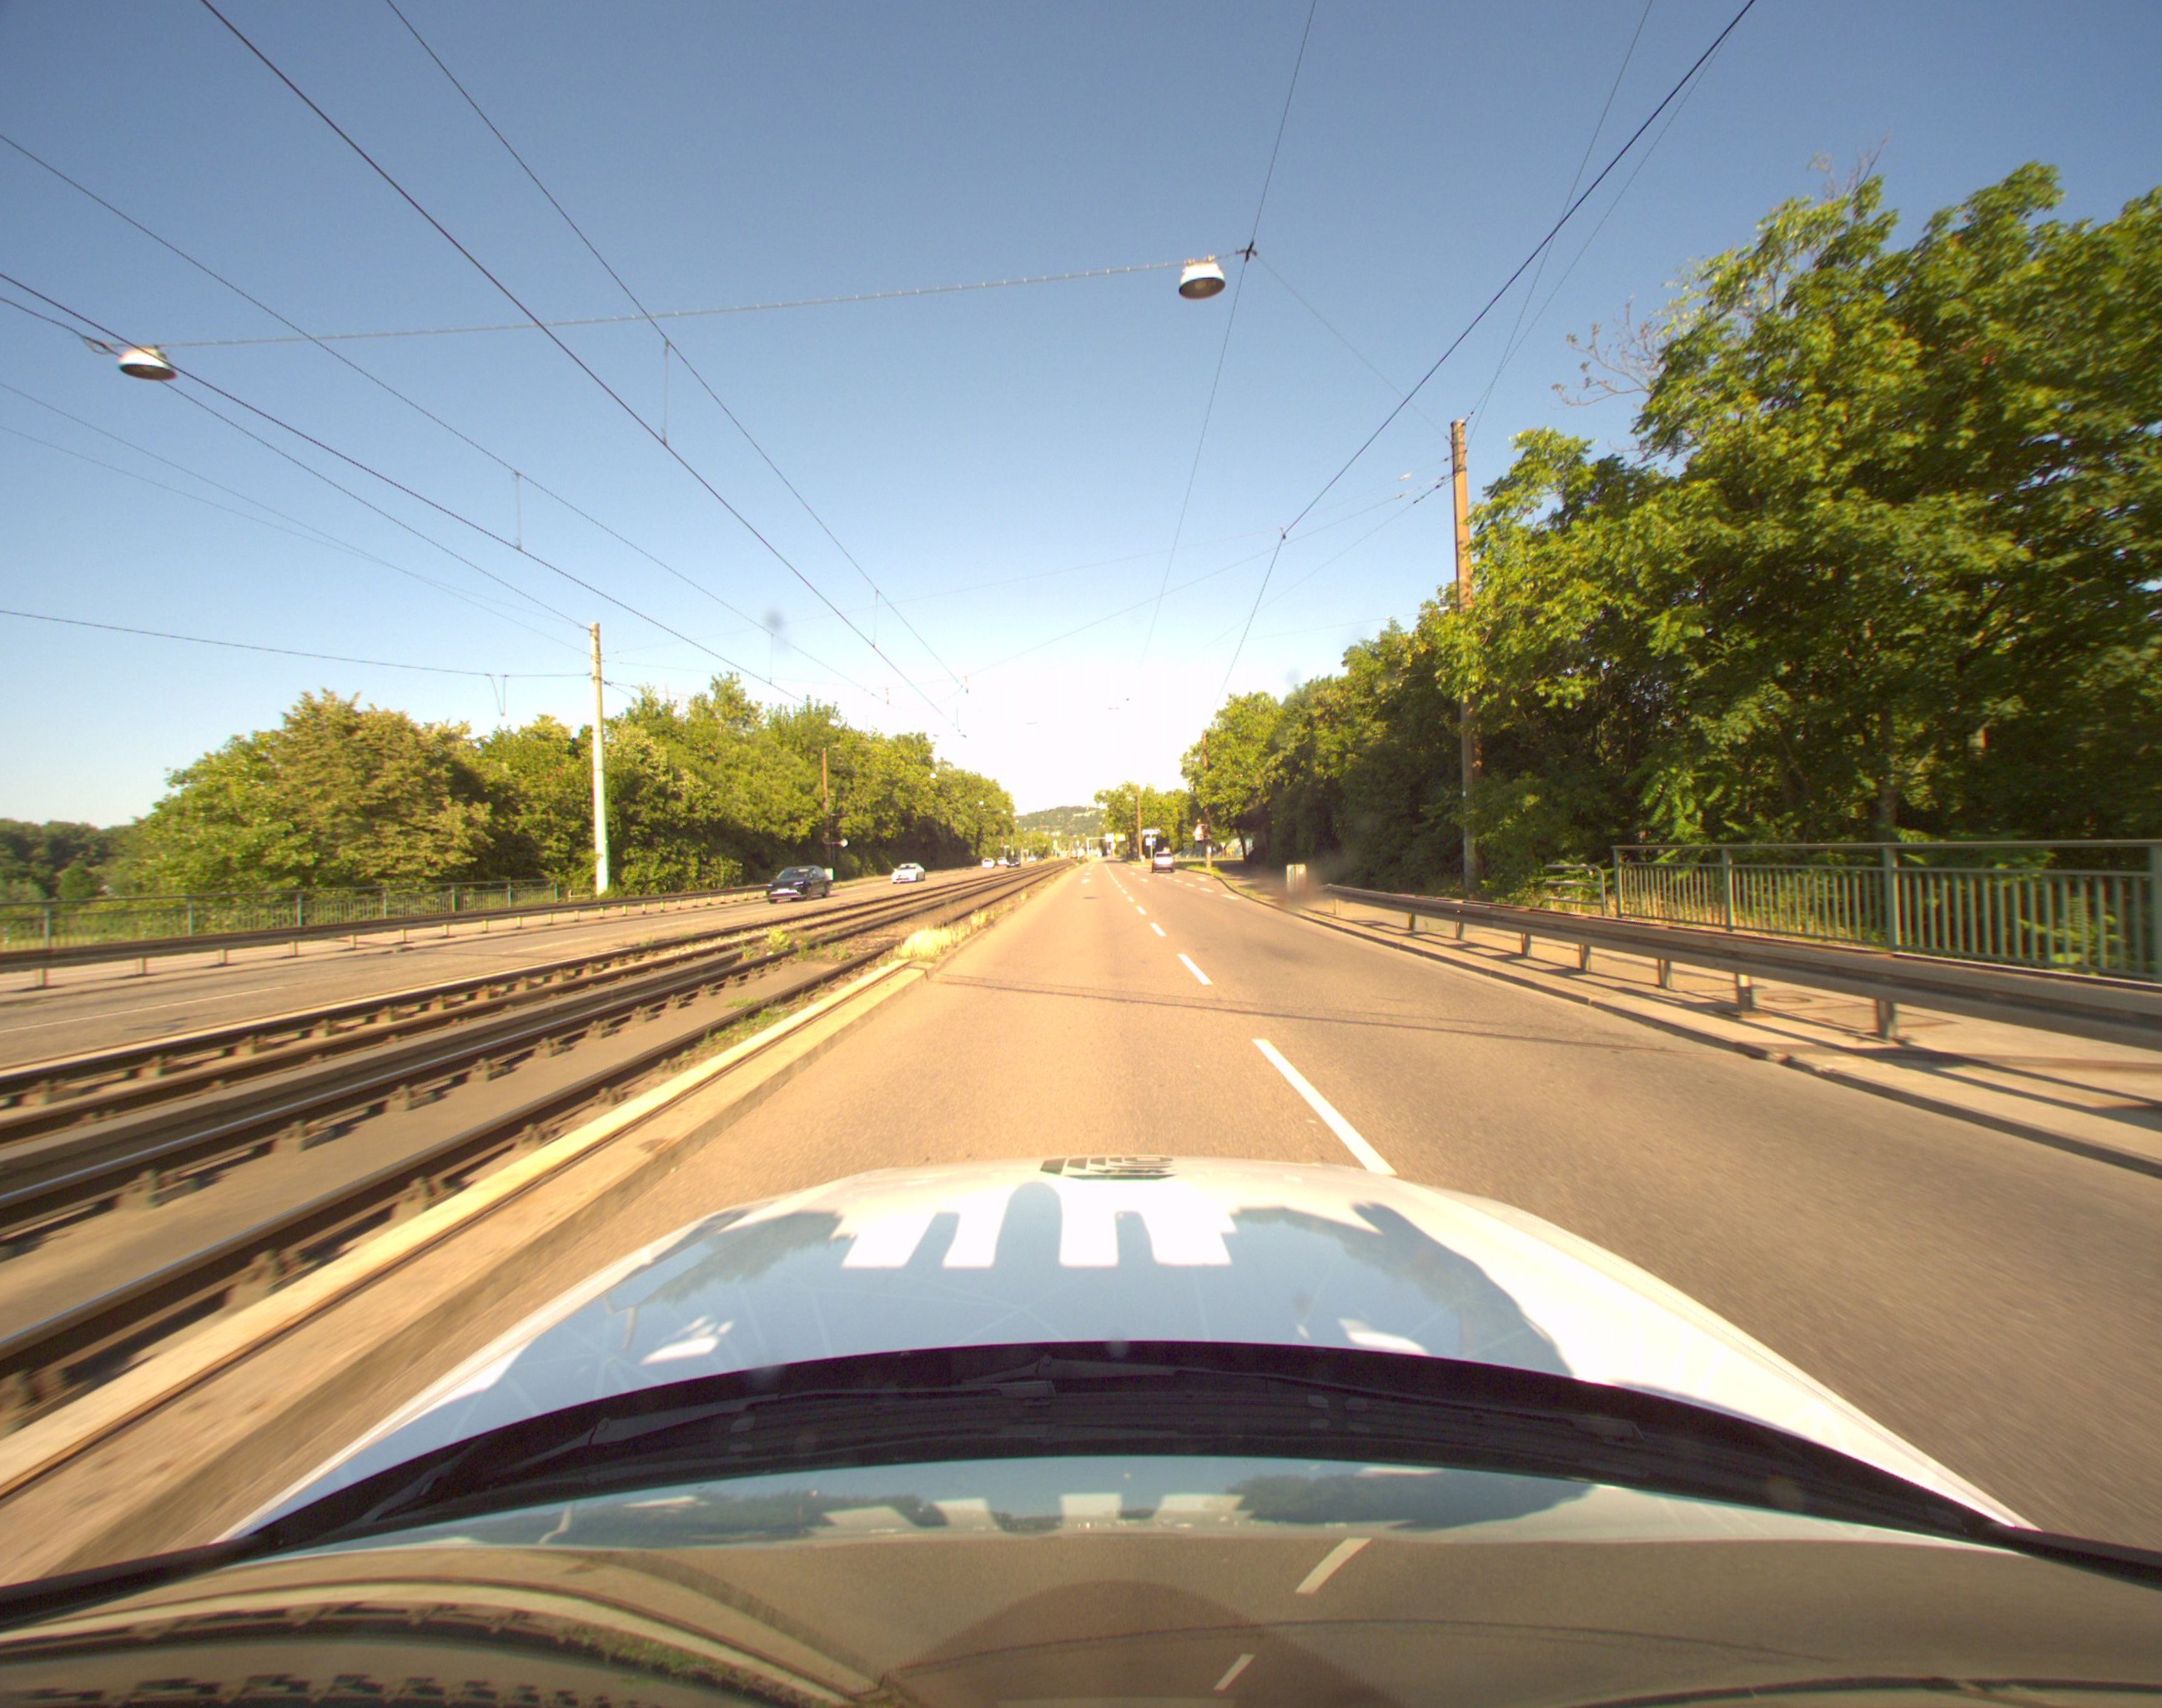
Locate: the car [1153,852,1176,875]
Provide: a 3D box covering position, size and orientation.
[{"bbox_3d":[6.818,0.761,66.749,1.800,1.773,3.868,-1,0,5],"label":"car"}]

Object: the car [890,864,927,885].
[{"bbox_3d":[-13.183,1.568,62.429,1.749,1.414,4.876,-4,-1,0],"label":"car"}]

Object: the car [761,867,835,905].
[{"bbox_3d":[-13.154,1.439,38.141,1.703,1.580,4.800,-3,0,0],"label":"car"}]

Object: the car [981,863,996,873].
[{"bbox_3d":[-15.245,2.269,134.261,1.685,1.556,4.192,-4,0,2],"label":"car"}]

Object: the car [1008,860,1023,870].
[{"bbox_3d":[-9.550,1.618,119.684,1.651,1.432,4.503,-4,0,2],"label":"car"}]
